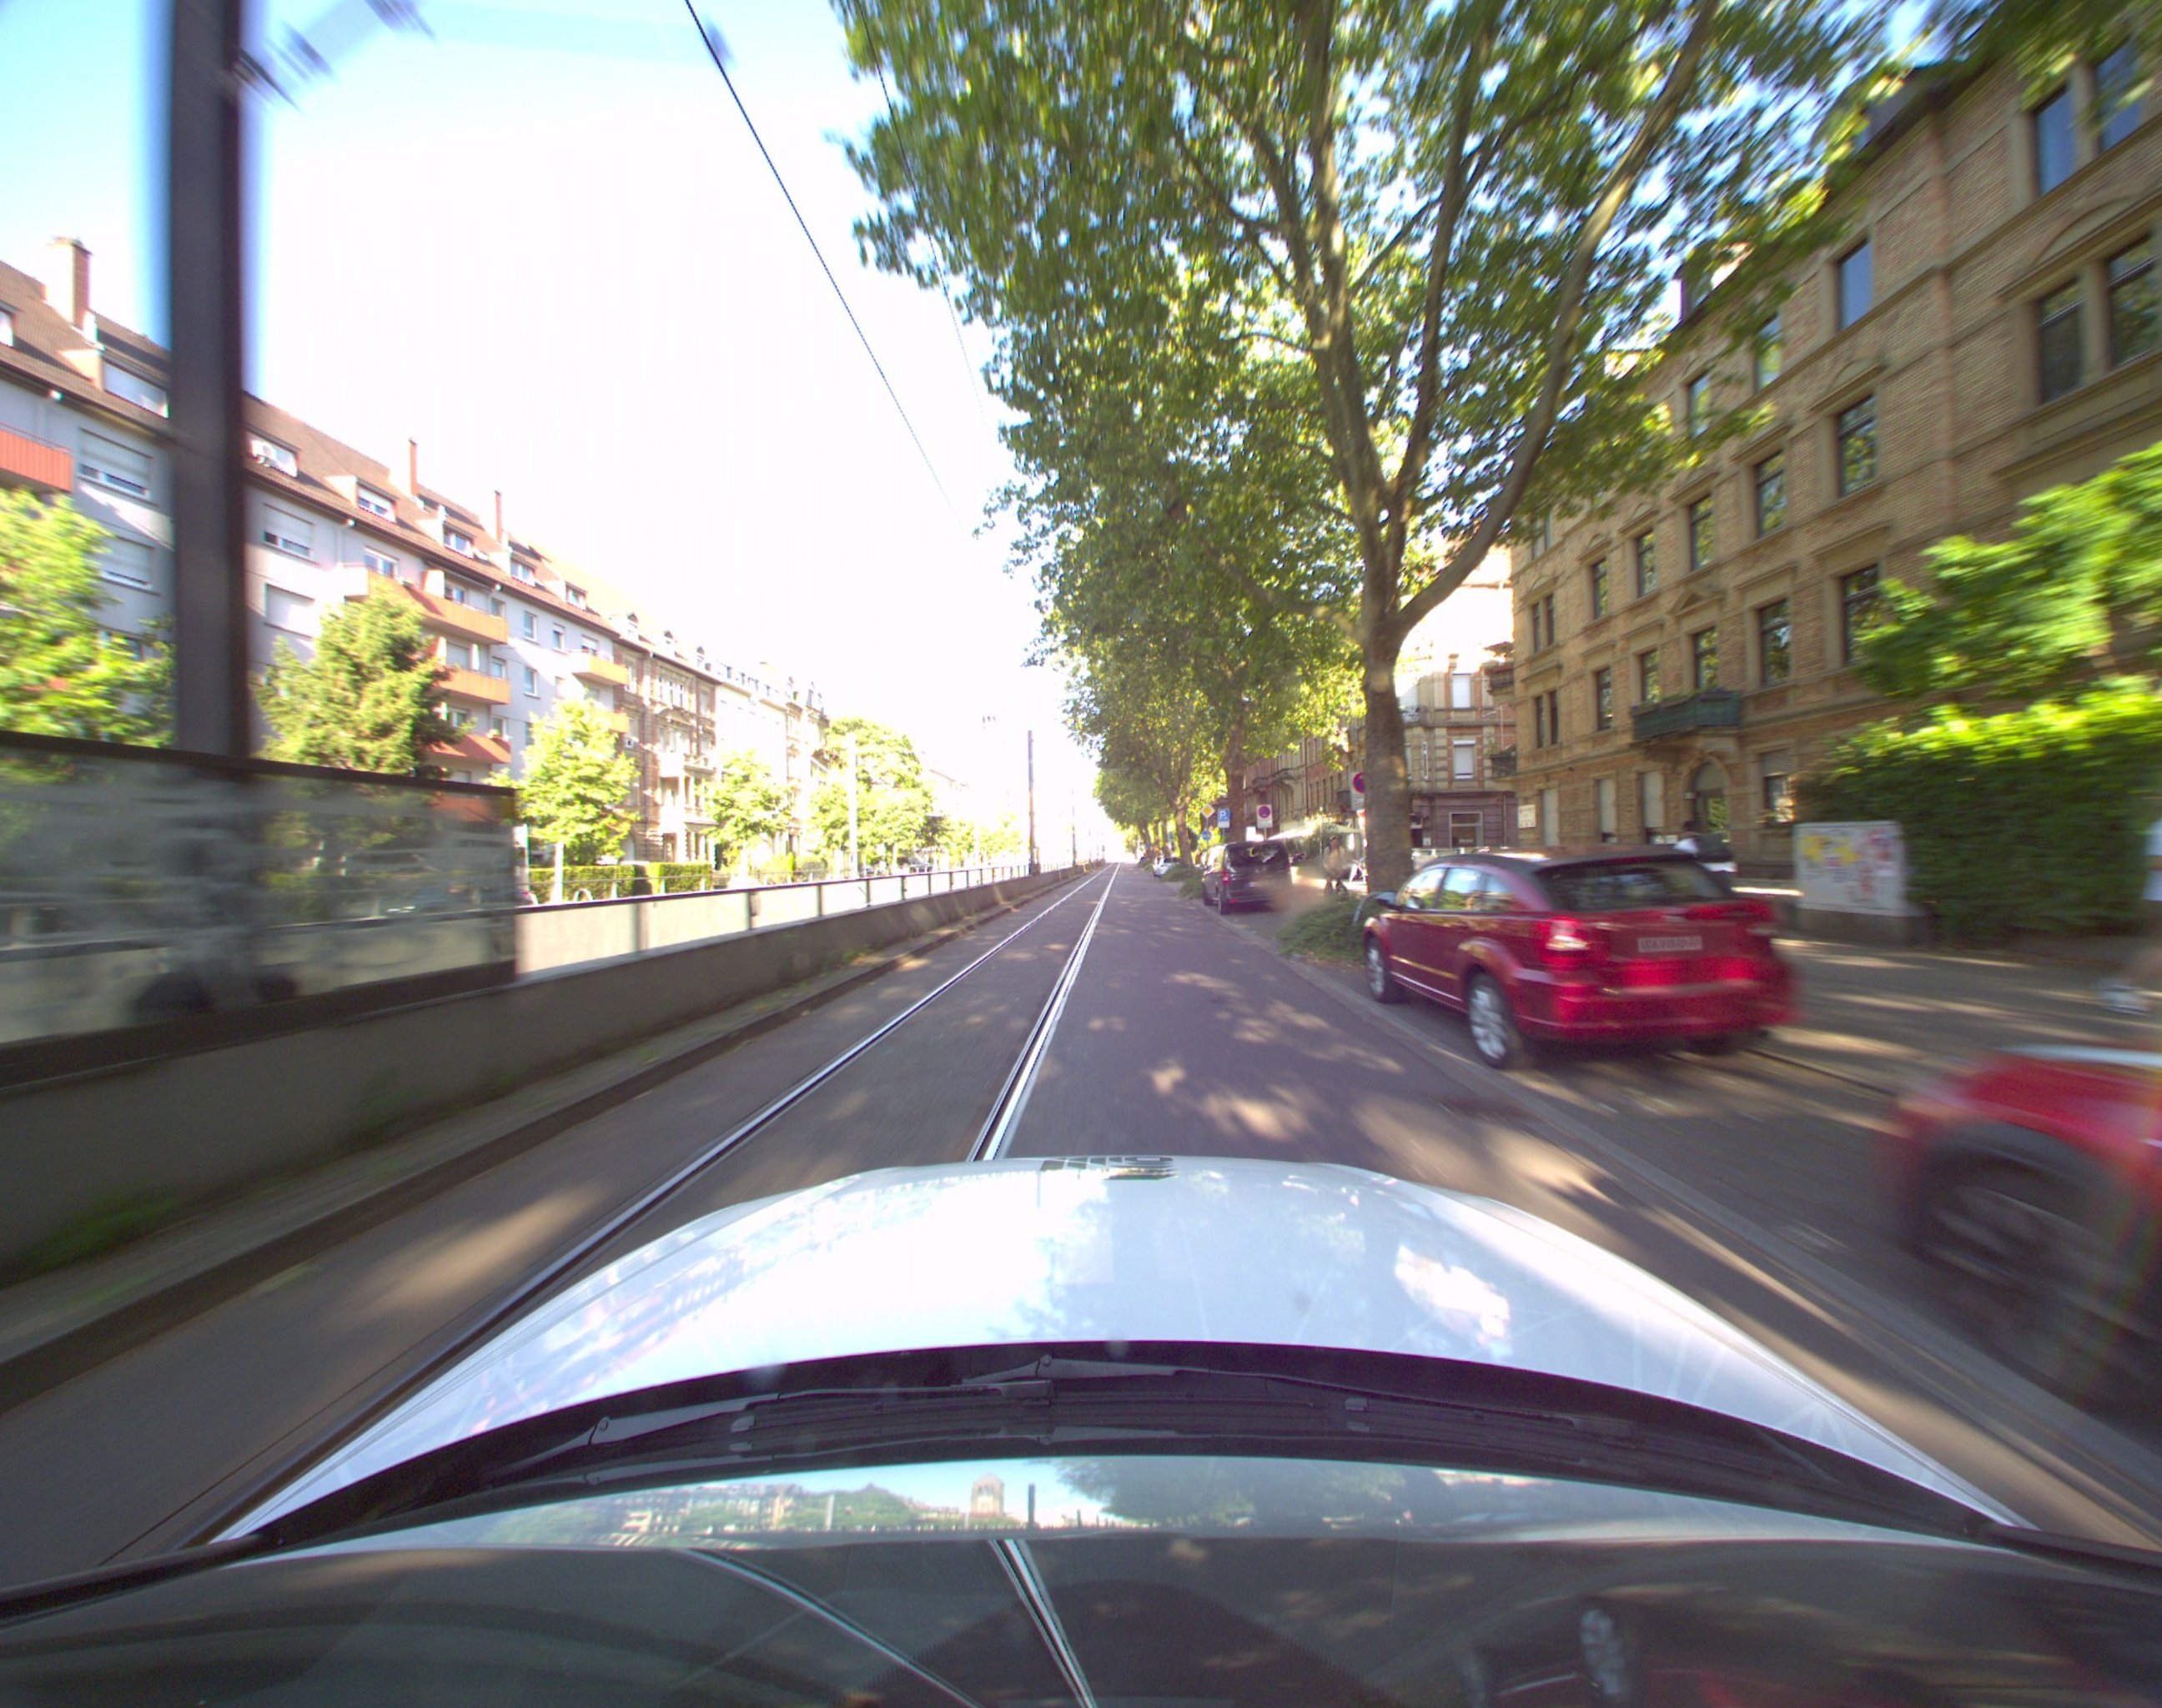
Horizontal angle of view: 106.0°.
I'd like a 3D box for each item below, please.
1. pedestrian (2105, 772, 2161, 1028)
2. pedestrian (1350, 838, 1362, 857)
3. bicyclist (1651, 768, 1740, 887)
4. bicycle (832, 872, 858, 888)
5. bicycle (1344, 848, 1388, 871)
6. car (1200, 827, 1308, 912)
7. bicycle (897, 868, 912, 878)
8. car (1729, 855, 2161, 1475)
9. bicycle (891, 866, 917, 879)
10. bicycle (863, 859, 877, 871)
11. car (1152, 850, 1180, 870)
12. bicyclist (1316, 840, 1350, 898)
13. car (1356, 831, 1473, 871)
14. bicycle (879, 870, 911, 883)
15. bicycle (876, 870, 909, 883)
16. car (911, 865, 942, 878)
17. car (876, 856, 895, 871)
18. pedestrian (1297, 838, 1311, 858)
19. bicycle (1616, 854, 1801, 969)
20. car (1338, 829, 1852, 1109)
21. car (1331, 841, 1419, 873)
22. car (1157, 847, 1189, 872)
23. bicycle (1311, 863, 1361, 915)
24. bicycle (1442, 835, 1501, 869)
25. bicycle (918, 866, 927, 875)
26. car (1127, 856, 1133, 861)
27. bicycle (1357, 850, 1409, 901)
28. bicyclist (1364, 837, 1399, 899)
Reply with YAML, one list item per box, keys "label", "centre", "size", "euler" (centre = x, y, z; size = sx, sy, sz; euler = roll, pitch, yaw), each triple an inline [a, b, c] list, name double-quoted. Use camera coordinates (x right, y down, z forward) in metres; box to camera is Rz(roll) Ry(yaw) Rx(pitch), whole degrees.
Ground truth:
- label: "pedestrian"
  centre: [7.851, 0.309, 5.625]
  size: [0.686, 1.785, 0.644]
  euler: [-4, 1, 1]
- label: "pedestrian"
  centre: [16.716, -0.407, 49.506]
  size: [0.554, 1.138, 0.526]
  euler: [-3, 0, 2]
- label: "bicyclist"
  centre: [7.523, -0.327, 9.991]
  size: [0.541, 1.380, 0.644]
  euler: [-4, 1, 1]
- label: "bicycle"
  centre: [-18.150, 2.004, 62.637]
  size: [1.800, 1.178, 0.563]
  euler: [-1, 0, 5]
- label: "bicycle"
  centre: [12.578, 0.228, 35.926]
  size: [1.690, 0.916, 0.601]
  euler: [-4, 0, -9]
- label: "car"
  centre: [4.787, 0.352, 23.360]
  size: [1.986, 2.013, 5.204]
  euler: [-4, 1, 2]
- label: "bicycle"
  centre: [-17.128, 1.840, 78.993]
  size: [1.272, 0.905, 0.534]
  euler: [-1, 1, -28]
- label: "car"
  centre: [3.464, 0.758, 1.298]
  size: [1.708, 1.462, 4.001]
  euler: [-2, 0, 1]
- label: "bicycle"
  centre: [-17.063, 1.789, 78.374]
  size: [2.381, 1.098, 0.552]
  euler: [-1, 1, -28]
- label: "bicycle"
  centre: [-20.574, 1.039, 79.454]
  size: [0.553, 1.098, 2.378]
  euler: [-1, 1, 3]
- label: "car"
  centre: [6.315, 0.415, 60.904]
  size: [1.822, 1.326, 4.003]
  euler: [-3, 0, 3]
- label: "bicyclist"
  centre: [6.267, 0.357, 20.298]
  size: [0.567, 1.380, 0.644]
  euler: [-4, 0, 2]
- label: "car"
  centre: [15.300, -0.145, 37.521]
  size: [4.591, 1.548, 1.921]
  euler: [-3, 0, -3]
- label: "bicycle"
  centre: [-16.860, 2.034, 73.891]
  size: [2.795, 1.098, 0.637]
  euler: [-1, 1, -30]
- label: "bicycle"
  centre: [-17.233, 2.034, 74.469]
  size: [2.795, 1.098, 0.637]
  euler: [-1, 1, -30]
- label: "car"
  centre: [-21.410, 2.410, 112.865]
  size: [3.982, 1.624, 1.821]
  euler: [-2, 0, -7]
- label: "car"
  centre: [-25.829, 1.266, 107.541]
  size: [1.993, 1.849, 4.467]
  euler: [-1, 1, -9]
- label: "pedestrian"
  centre: [15.152, -0.405, 55.394]
  size: [0.709, 1.300, 0.663]
  euler: [-3, 0, 4]
- label: "bicycle"
  centre: [7.580, 0.624, 9.998]
  size: [0.558, 1.178, 2.227]
  euler: [-4, 1, 2]
- label: "car"
  centre: [3.785, 0.693, 7.137]
  size: [1.708, 1.549, 4.503]
  euler: [-5, 0, 2]
- label: "car"
  centre: [15.397, 0.157, 42.752]
  size: [3.975, 1.364, 1.743]
  euler: [-4, 2, -1]
- label: "car"
  centre: [6.261, 0.339, 55.676]
  size: [1.795, 1.477, 4.649]
  euler: [-3, 0, 2]
- label: "bicycle"
  centre: [6.302, 0.836, 20.238]
  size: [0.558, 1.178, 2.227]
  euler: [-3, 0, 2]
- label: "bicycle"
  centre: [14.515, -0.082, 30.281]
  size: [1.853, 1.153, 0.477]
  euler: [-3, 0, 6]
- label: "bicycle"
  centre: [-19.274, 2.020, 99.022]
  size: [0.457, 1.005, 1.926]
  euler: [-1, -3, -28]
- label: "car"
  centre: [13.412, 1.241, 223.102]
  size: [1.738, 1.462, 3.646]
  euler: [-1, 1, 2]
- label: "bicycle"
  centre: [7.485, 0.507, 20.286]
  size: [0.558, 1.178, 2.023]
  euler: [-3, 0, 2]
- label: "bicyclist"
  centre: [7.463, 0.335, 20.247]
  size: [0.567, 1.487, 0.644]
  euler: [-4, 0, 2]
